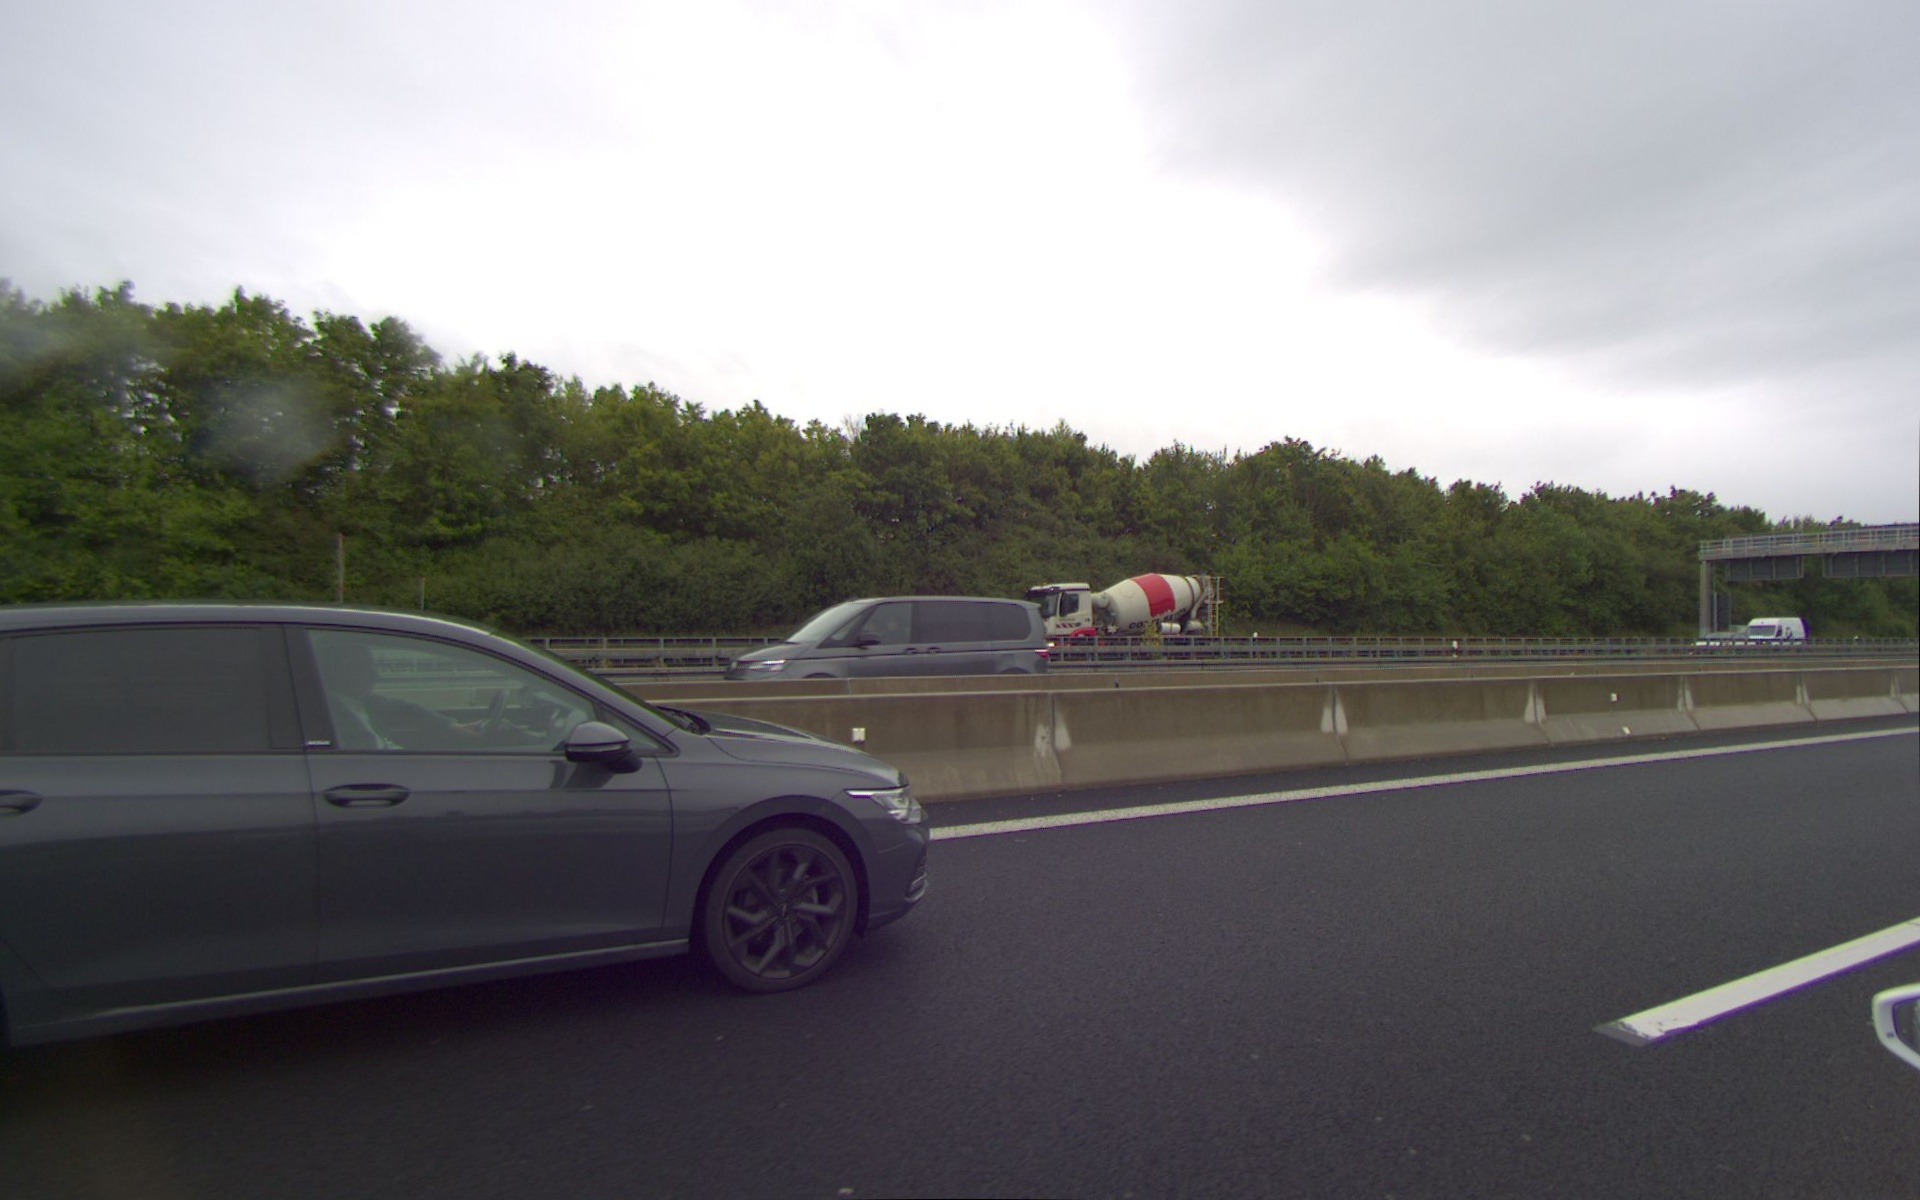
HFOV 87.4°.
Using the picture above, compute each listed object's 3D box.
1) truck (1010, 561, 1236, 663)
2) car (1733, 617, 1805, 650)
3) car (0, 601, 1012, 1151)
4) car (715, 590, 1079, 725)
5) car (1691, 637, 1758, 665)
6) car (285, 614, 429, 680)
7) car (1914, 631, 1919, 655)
[{"bbox_3d":[6.690,0.547,40.274,9.446,3.709,2.672,1,-1,-31],"label":"truck"},{"bbox_3d":[55.353,2.283,68.723,5.648,2.243,1.984,1,-1,-30],"label":"car"},{"bbox_3d":[-2.102,0.763,3.972,4.315,1.444,1.822,1,0,-29],"label":"car"},{"bbox_3d":[-0.850,0.755,14.695,4.969,1.672,1.983,1,0,-31],"label":"car"},{"bbox_3d":[43.147,2.860,56.675,3.870,1.444,1.583,1,0,-29],"label":"car"},{"bbox_3d":[-19.720,1.514,33.062,3.951,2.040,1.742,1,-1,-29],"label":"car"},{"bbox_3d":[73.030,3.222,74.585,4.529,1.760,1.984,1,-1,-31],"label":"car"}]
